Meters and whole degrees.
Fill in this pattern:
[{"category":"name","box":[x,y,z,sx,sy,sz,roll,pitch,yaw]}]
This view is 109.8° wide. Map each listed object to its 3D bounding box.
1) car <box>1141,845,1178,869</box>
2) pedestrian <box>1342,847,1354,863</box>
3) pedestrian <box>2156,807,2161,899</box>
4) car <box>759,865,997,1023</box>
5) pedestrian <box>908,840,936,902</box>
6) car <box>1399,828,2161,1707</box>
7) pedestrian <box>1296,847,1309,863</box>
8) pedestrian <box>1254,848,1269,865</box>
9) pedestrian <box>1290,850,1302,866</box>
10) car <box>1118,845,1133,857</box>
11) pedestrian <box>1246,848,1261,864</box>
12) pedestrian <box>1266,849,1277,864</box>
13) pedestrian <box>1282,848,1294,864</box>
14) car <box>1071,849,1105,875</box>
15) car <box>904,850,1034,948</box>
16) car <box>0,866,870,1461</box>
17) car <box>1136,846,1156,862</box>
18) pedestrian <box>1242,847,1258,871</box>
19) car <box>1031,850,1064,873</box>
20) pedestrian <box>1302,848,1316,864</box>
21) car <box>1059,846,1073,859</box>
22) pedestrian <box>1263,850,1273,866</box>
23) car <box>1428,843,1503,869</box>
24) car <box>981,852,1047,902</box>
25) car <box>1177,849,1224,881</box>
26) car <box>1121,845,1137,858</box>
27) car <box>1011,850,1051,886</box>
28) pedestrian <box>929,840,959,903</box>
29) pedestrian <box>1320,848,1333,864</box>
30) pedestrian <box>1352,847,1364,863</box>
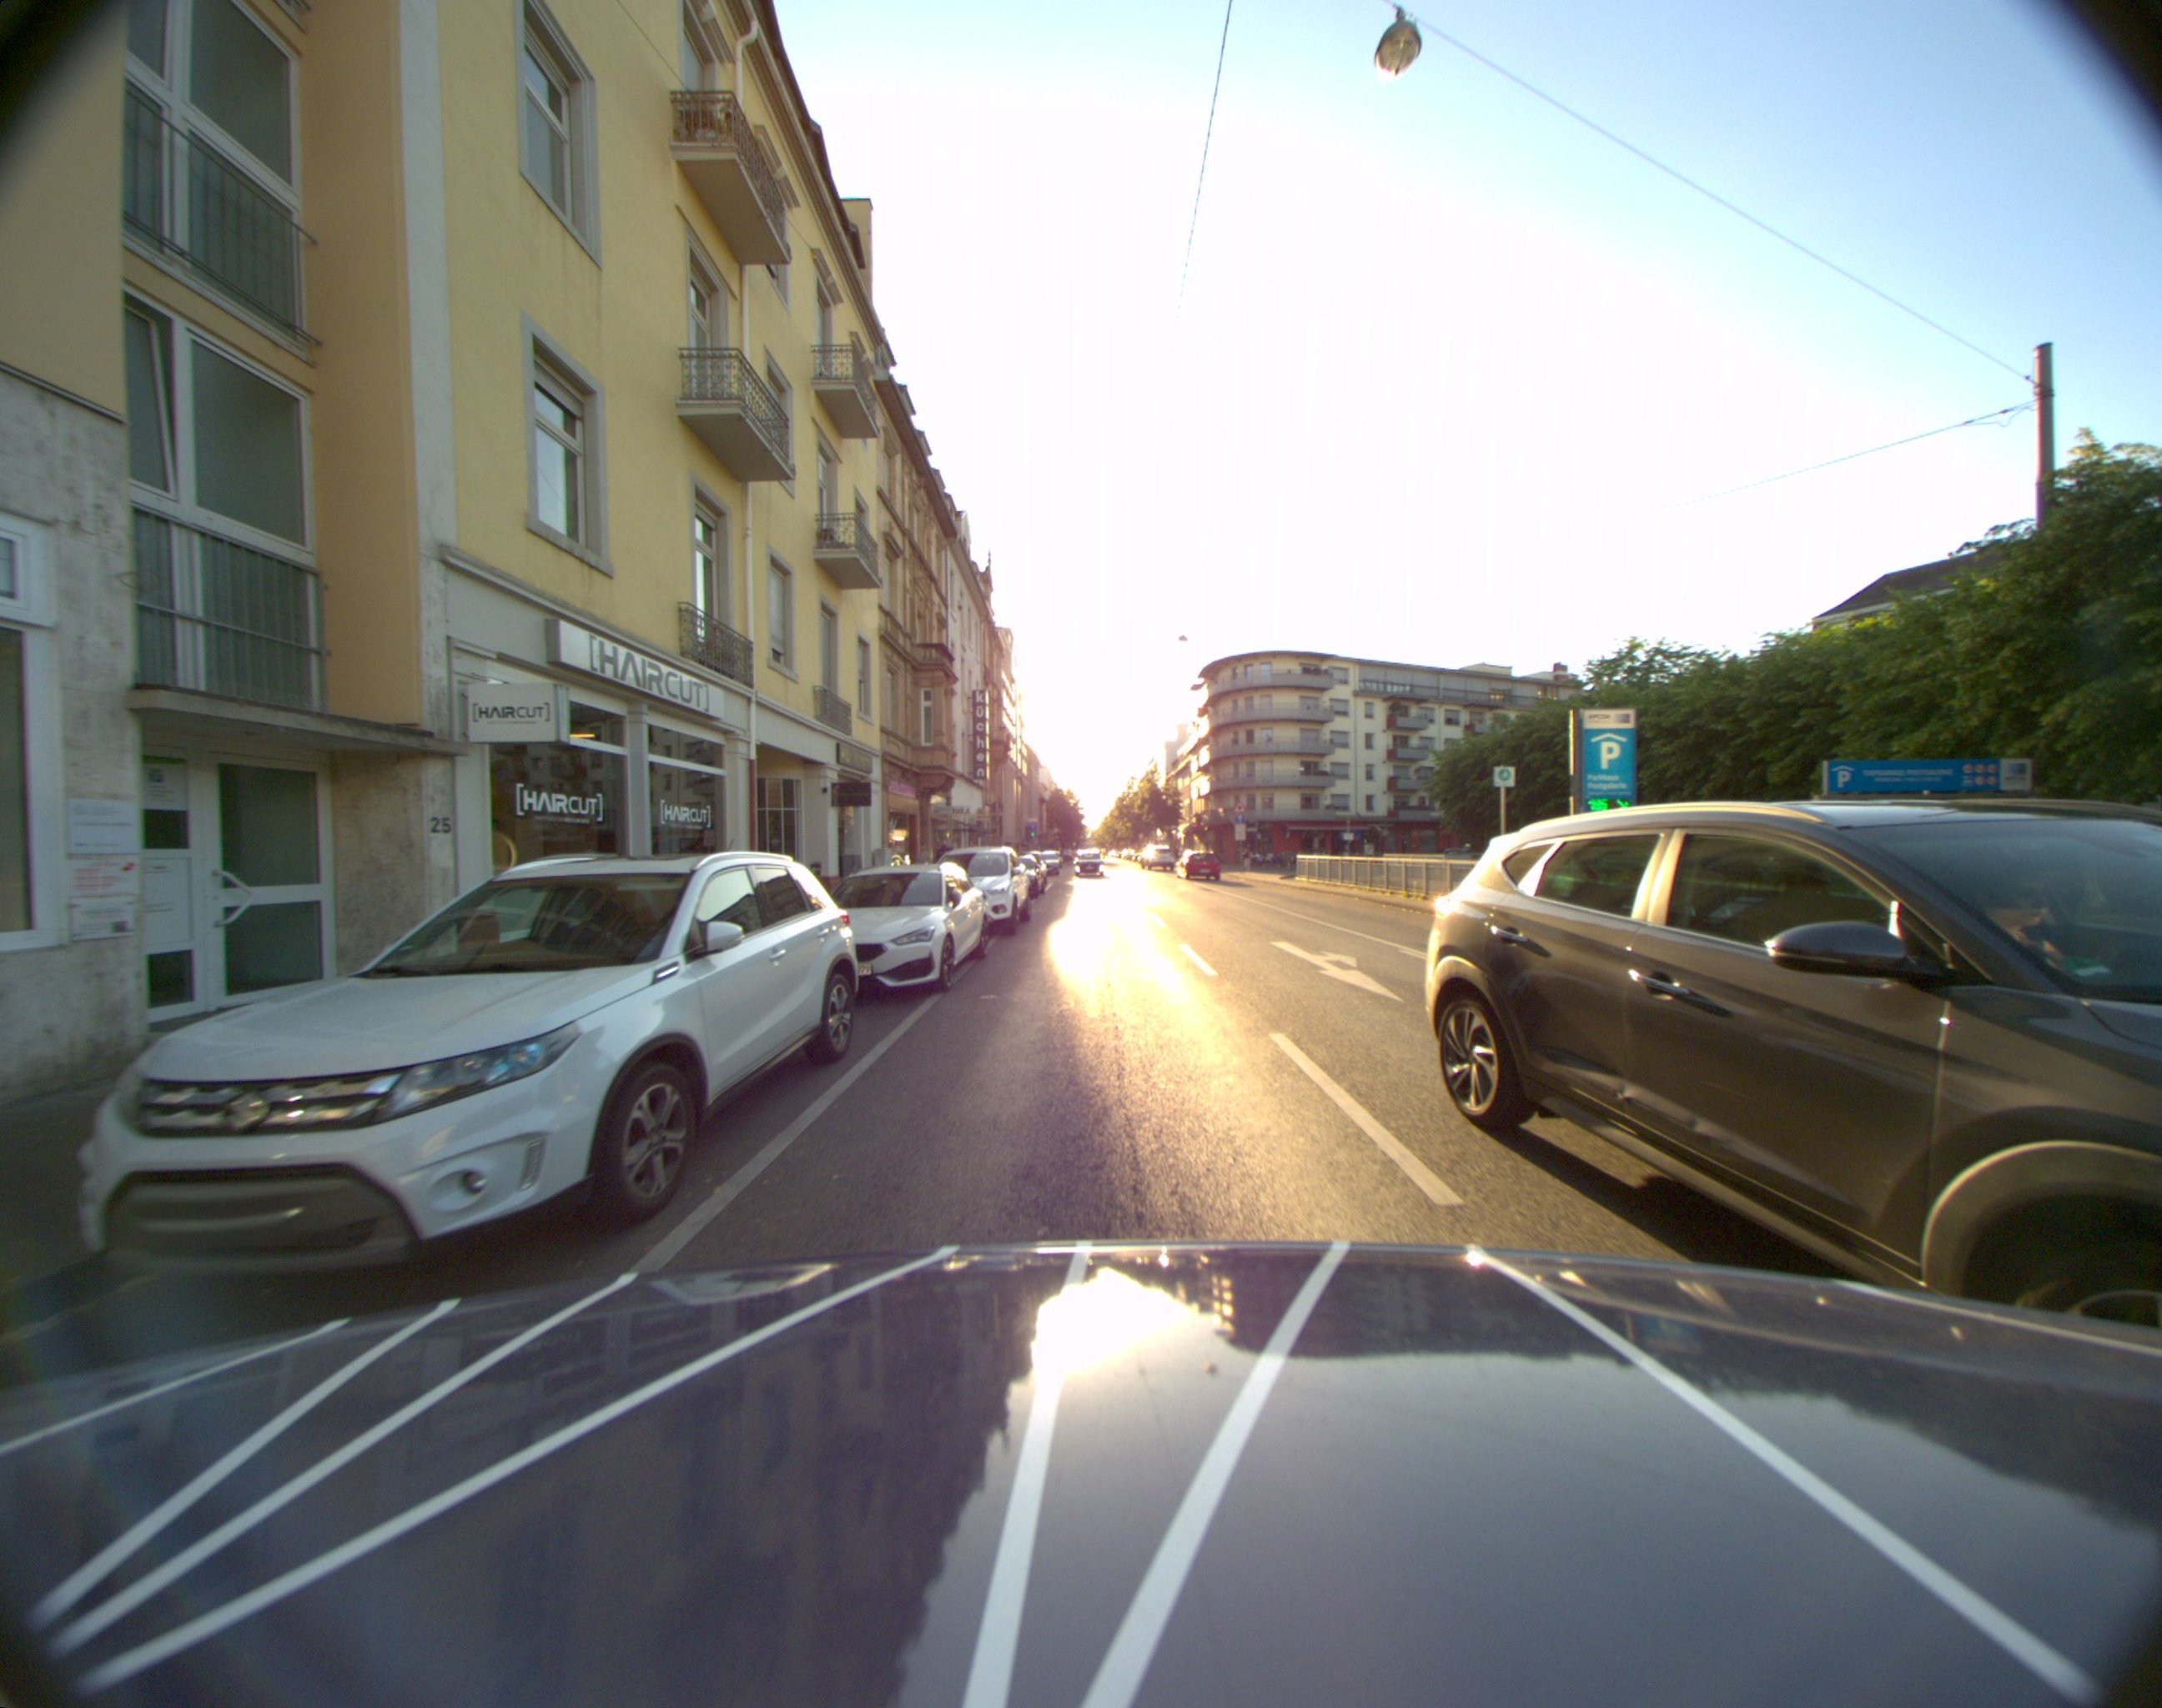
[{"category":"car","box":[5.532,0.200,54.272,1.878,1.621,4.176,1,0,-4]},{"category":"pedestrian","box":[23.560,0.094,66.971,0.731,1.315,0.890,-1,1,40]},{"category":"pedestrian","box":[24.164,-0.029,16.508,0.907,2.002,0.738,-2,1,-22]},{"category":"car","box":[-2.307,0.945,9.968,1.738,1.448,4.610,-1,1,1]},{"category":"pedestrian","box":[-5.219,0.546,24.998,0.673,2.002,0.851,-1,1,1]},{"category":"car","box":[2.930,0.779,2.505,1.877,1.680,4.449,0,1,0]},{"category":"pedestrian","box":[18.994,0.096,65.272,0.688,1.315,0.819,-2,1,-23]},{"category":"pedestrian","box":[14.685,0.204,61.915,0.890,1.315,0.731,-2,1,-30]},{"category":"pedestrian","box":[18.087,0.361,63.867,0.732,1.315,0.888,-1,1,-1]},{"category":"car","box":[6.847,-0.419,116.296,1.999,1.805,3.999,-1,1,-1]},{"category":"pedestrian","box":[14.251,0.151,62.739,0.890,1.315,0.731,-2,1,-26]},{"category":"pedestrian","box":[15.774,0.195,62.913,0.887,1.185,0.733,-1,1,10]},{"category":"pedestrian","box":[17.391,0.138,63.860,0.732,1.315,0.888,-1,1,0]},{"category":"car","box":[0.392,0.446,46.178,1.908,1.438,4.449,-1,1,0]},{"category":"car","box":[-2.113,0.779,15.607,1.877,1.664,4.430,-1,1,1]},{"category":"car","box":[-2.755,0.946,4.306,1.821,1.611,4.203,-1,1,1]},{"category":"car","box":[7.605,-0.064,89.300,1.999,1.805,3.999,-1,1,-1]},{"category":"pedestrian","box":[10.575,0.296,47.519,0.678,1.509,0.676,-2,1,-41]},{"category":"car","box":[-2.132,0.458,49.514,1.908,1.421,4.449,-1,1,-1]},{"category":"pedestrian","box":[19.167,0.154,63.933,0.733,1.315,0.888,-2,1,-12]},{"category":"car","box":[-2.263,-0.218,115.119,1.999,1.806,3.997,-1,2,-3]},{"category":"pedestrian","box":[15.686,0.349,63.789,0.677,1.315,0.611,-1,1,0]},{"category":"car","box":[25.470,0.123,50.490,2.003,1.642,3.991,-2,1,-28]},{"category":"car","box":[-2.259,0.742,26.731,1.908,1.531,4.449,-1,1,-1]},{"category":"car","box":[6.074,0.517,38.972,1.790,1.458,3.956,0,1,-1]},{"category":"car","box":[7.037,-0.369,111.523,1.999,1.805,3.999,-1,1,-1]},{"category":"car","box":[-2.346,0.626,36.447,1.644,1.574,4.201,-1,1,-1]},{"category":"pedestrian","box":[-4.483,0.566,24.864,0.763,2.002,0.851,-1,1,1]},{"category":"pedestrian","box":[21.041,0.160,65.095,0.733,1.315,0.887,-2,1,-14]},{"category":"pedestrian","box":[24.167,0.095,66.351,0.731,1.315,0.890,-1,1,40]}]
